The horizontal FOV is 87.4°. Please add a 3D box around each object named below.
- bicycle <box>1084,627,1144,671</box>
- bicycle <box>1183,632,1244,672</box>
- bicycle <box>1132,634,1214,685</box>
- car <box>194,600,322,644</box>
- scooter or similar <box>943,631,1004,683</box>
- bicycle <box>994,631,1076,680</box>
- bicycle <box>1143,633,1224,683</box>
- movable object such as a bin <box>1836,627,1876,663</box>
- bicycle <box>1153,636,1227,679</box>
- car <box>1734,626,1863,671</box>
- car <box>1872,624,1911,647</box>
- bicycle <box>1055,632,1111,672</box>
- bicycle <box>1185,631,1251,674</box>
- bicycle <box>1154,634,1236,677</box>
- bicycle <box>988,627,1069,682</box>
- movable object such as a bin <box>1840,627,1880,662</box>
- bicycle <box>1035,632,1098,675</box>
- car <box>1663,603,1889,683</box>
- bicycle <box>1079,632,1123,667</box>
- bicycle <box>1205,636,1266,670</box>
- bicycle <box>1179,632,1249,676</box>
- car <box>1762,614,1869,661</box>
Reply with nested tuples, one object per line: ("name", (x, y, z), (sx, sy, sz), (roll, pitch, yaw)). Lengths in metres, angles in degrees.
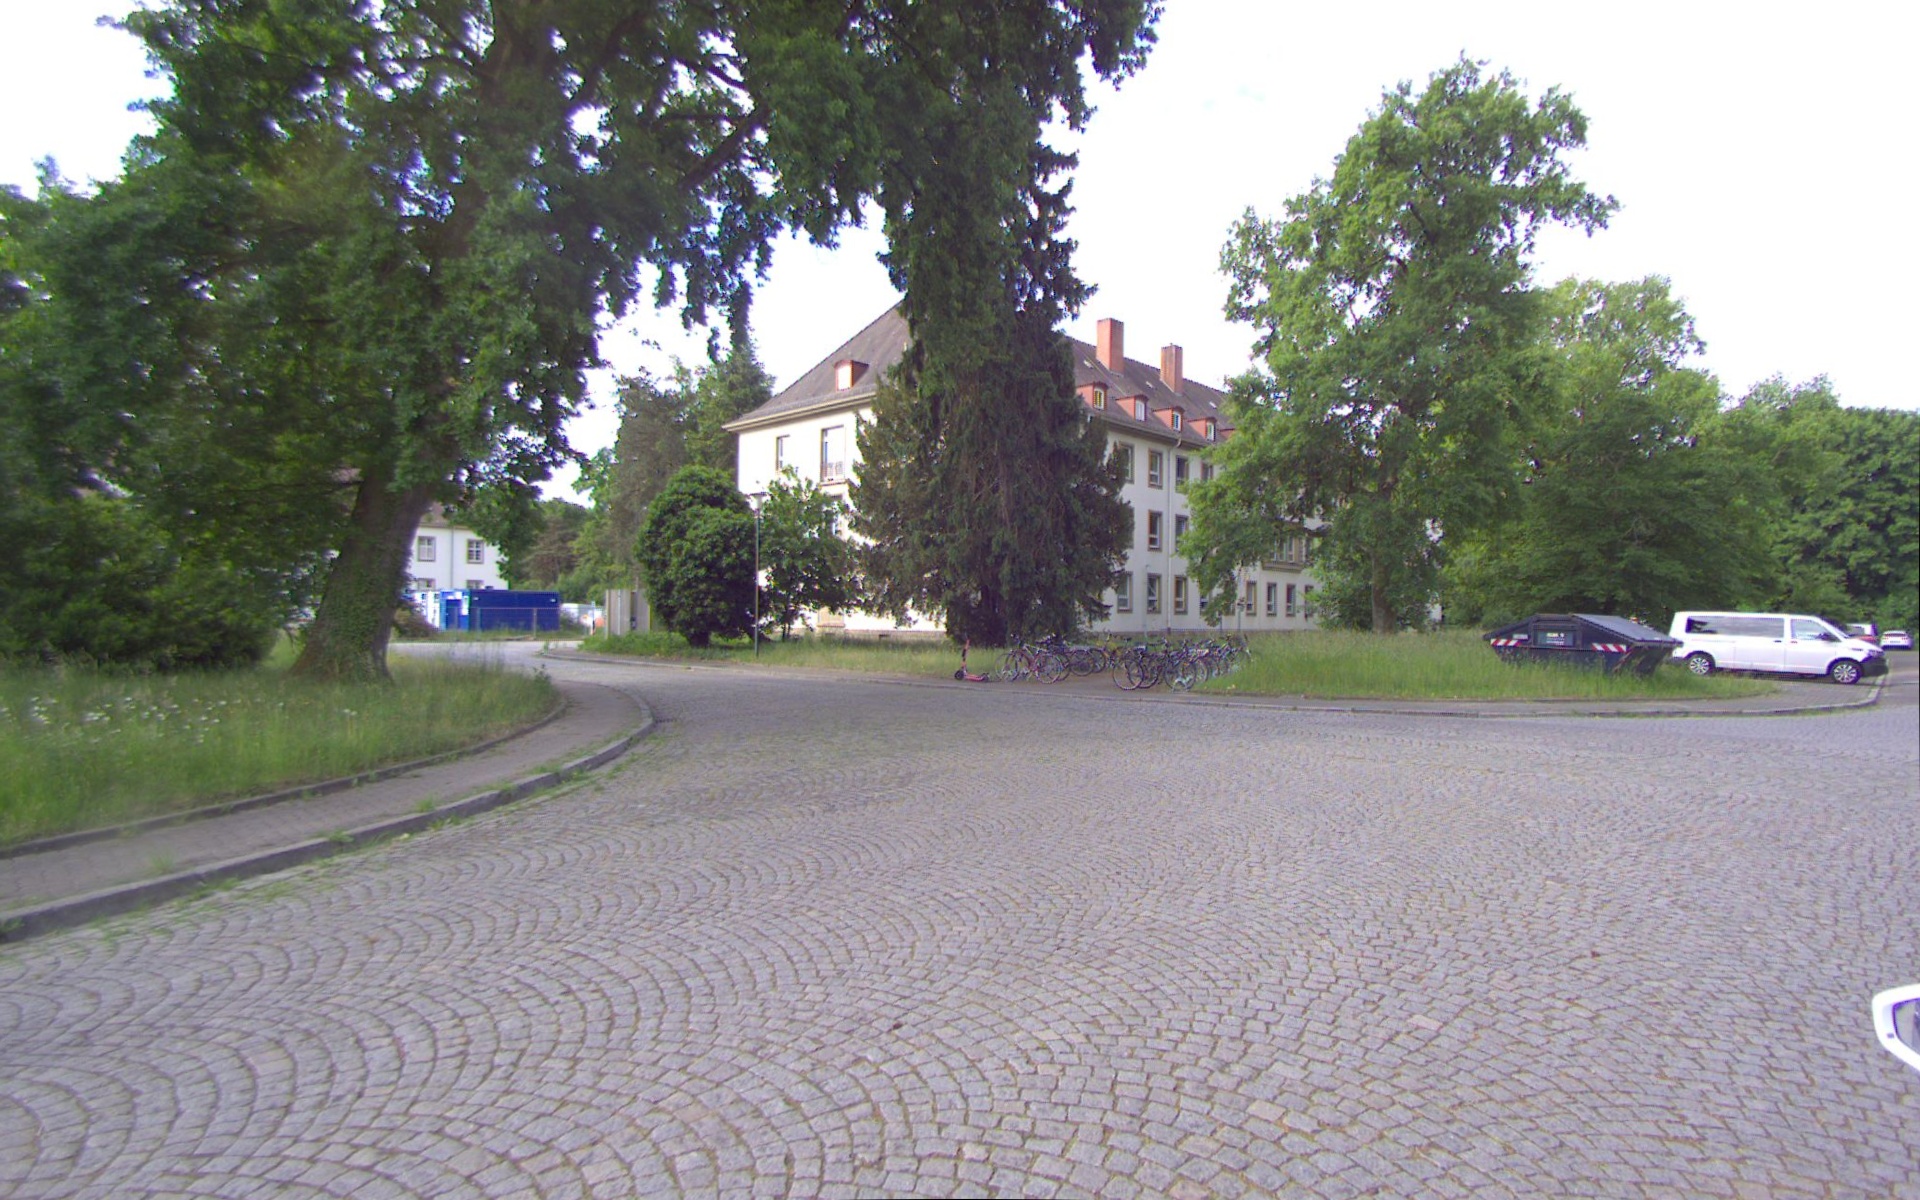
("bicycle", (4.378, 1.385, 28.538), (1.611, 1.201, 0.574), (0, 1, 19))
("bicycle", (7.101, 1.446, 28.145), (1.591, 1.073, 0.526), (-1, 1, 25))
("bicycle", (4.955, 1.378, 23.413), (1.740, 1.118, 0.702), (-1, 1, 25))
("car", (-39.358, 1.272, 56.427), (2.097, 2.237, 5.500), (4, 1, 43))
("scooter or similar", (0.323, 1.396, 24.989), (0.677, 1.211, 1.533), (0, -1, -42))
("bicycle", (1.890, 1.384, 25.382), (1.954, 1.129, 0.643), (0, 1, 25))
("bicycle", (5.353, 1.369, 24.021), (1.765, 1.118, 0.702), (-1, 1, 25))
("movable object such as a bin", (38.156, 1.922, 42.780), (1.171, 1.426, 0.969), (4, 1, 45))
("bicycle", (5.647, 1.399, 24.646), (1.665, 1.015, 0.631), (-1, 1, 25))
("car", (33.190, 1.898, 39.815), (1.805, 1.500, 3.600), (3, 1, -38))
("car", (71.069, 2.690, 76.670), (1.978, 1.568, 3.939), (4, 0, 41))
("bicycle", (3.440, 1.446, 28.044), (1.486, 1.050, 0.545), (0, 1, 14))
("bicycle", (7.074, 1.420, 27.514), (1.670, 1.131, 0.541), (-1, 1, 25))
("bicycle", (5.938, 1.391, 25.418), (1.923, 1.018, 0.686), (-1, 1, 25))
("bicycle", (1.683, 1.327, 24.729), (1.865, 1.239, 0.643), (1, 2, 25))
("movable object such as a bin", (39.127, 1.949, 43.670), (1.171, 1.426, 0.969), (4, 1, 45))
("bicycle", (2.837, 1.410, 26.701), (1.597, 1.088, 0.540), (0, 1, 14))
("car", (24.602, 1.227, 30.427), (5.144, 2.087, 2.176), (2, -1, 43))
("bicycle", (4.274, 1.504, 30.455), (1.239, 1.042, 0.433), (-1, -4, 25))
("bicycle", (7.783, 1.498, 28.399), (1.591, 0.923, 0.526), (-1, 1, 25))
("bicycle", (6.839, 1.442, 27.024), (1.743, 1.120, 0.541), (-1, 1, 25))
("car", (42.920, 1.853, 50.518), (3.939, 2.040, 1.913), (4, 1, 40))
